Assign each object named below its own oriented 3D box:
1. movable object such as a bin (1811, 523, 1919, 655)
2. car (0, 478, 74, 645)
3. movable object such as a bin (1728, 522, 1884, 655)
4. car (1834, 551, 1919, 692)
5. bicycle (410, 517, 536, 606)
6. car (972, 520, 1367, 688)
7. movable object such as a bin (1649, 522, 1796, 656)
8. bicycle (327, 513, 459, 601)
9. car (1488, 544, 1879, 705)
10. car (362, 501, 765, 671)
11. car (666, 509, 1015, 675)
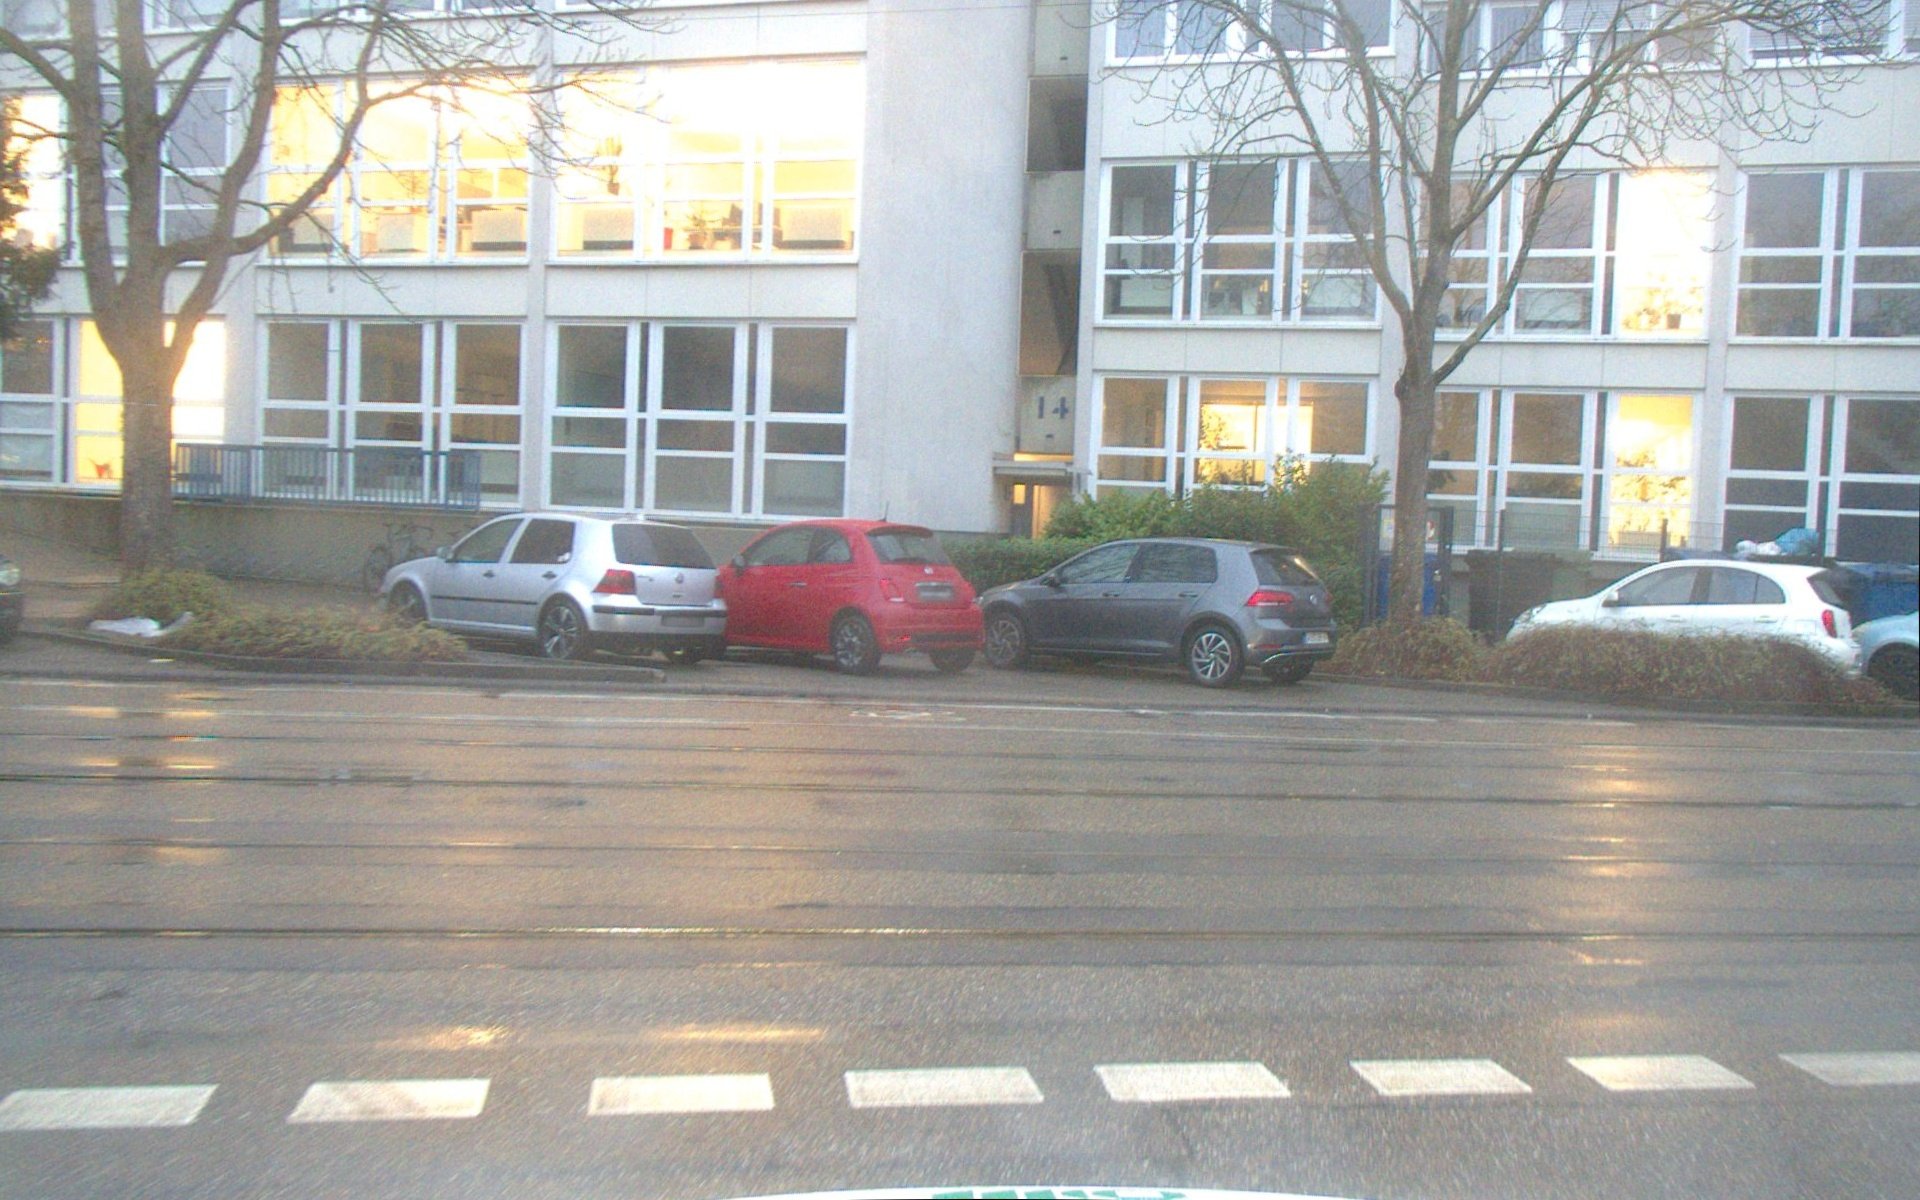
[{"bbox_3d":[13.808,-0.185,24.649,1.289,1.892,1.573,0,2,-8],"label":"movable object such as a bin"},{"bbox_3d":[-9.784,-0.408,14.893,3.926,1.402,1.847,3,3,39],"label":"car"},{"bbox_3d":[12.473,-0.194,24.456,1.363,1.892,1.573,0,2,-8],"label":"movable object such as a bin"},{"bbox_3d":[12.358,0.298,18.877,3.926,1.590,1.728,3,3,39],"label":"car"},{"bbox_3d":[-6.620,-0.536,22.613,0.626,1.140,2.208,2,2,13],"label":"bicycle"},{"bbox_3d":[2.149,-0.029,17.406,3.779,1.518,1.689,3,3,38],"label":"car"},{"bbox_3d":[11.147,-0.190,24.242,1.289,1.892,1.573,0,2,-8],"label":"movable object such as a bin"},{"bbox_3d":[-7.799,-0.607,22.871,0.626,1.140,2.208,2,2,13],"label":"bicycle"},{"bbox_3d":[8.243,0.204,18.964,3.800,1.578,1.686,3,3,37],"label":"car"},{"bbox_3d":[-4.013,-0.206,16.524,3.920,1.471,1.787,3,3,35],"label":"car"},{"bbox_3d":[-1.293,-0.143,17.261,3.387,1.518,1.721,3,3,39],"label":"car"}]
